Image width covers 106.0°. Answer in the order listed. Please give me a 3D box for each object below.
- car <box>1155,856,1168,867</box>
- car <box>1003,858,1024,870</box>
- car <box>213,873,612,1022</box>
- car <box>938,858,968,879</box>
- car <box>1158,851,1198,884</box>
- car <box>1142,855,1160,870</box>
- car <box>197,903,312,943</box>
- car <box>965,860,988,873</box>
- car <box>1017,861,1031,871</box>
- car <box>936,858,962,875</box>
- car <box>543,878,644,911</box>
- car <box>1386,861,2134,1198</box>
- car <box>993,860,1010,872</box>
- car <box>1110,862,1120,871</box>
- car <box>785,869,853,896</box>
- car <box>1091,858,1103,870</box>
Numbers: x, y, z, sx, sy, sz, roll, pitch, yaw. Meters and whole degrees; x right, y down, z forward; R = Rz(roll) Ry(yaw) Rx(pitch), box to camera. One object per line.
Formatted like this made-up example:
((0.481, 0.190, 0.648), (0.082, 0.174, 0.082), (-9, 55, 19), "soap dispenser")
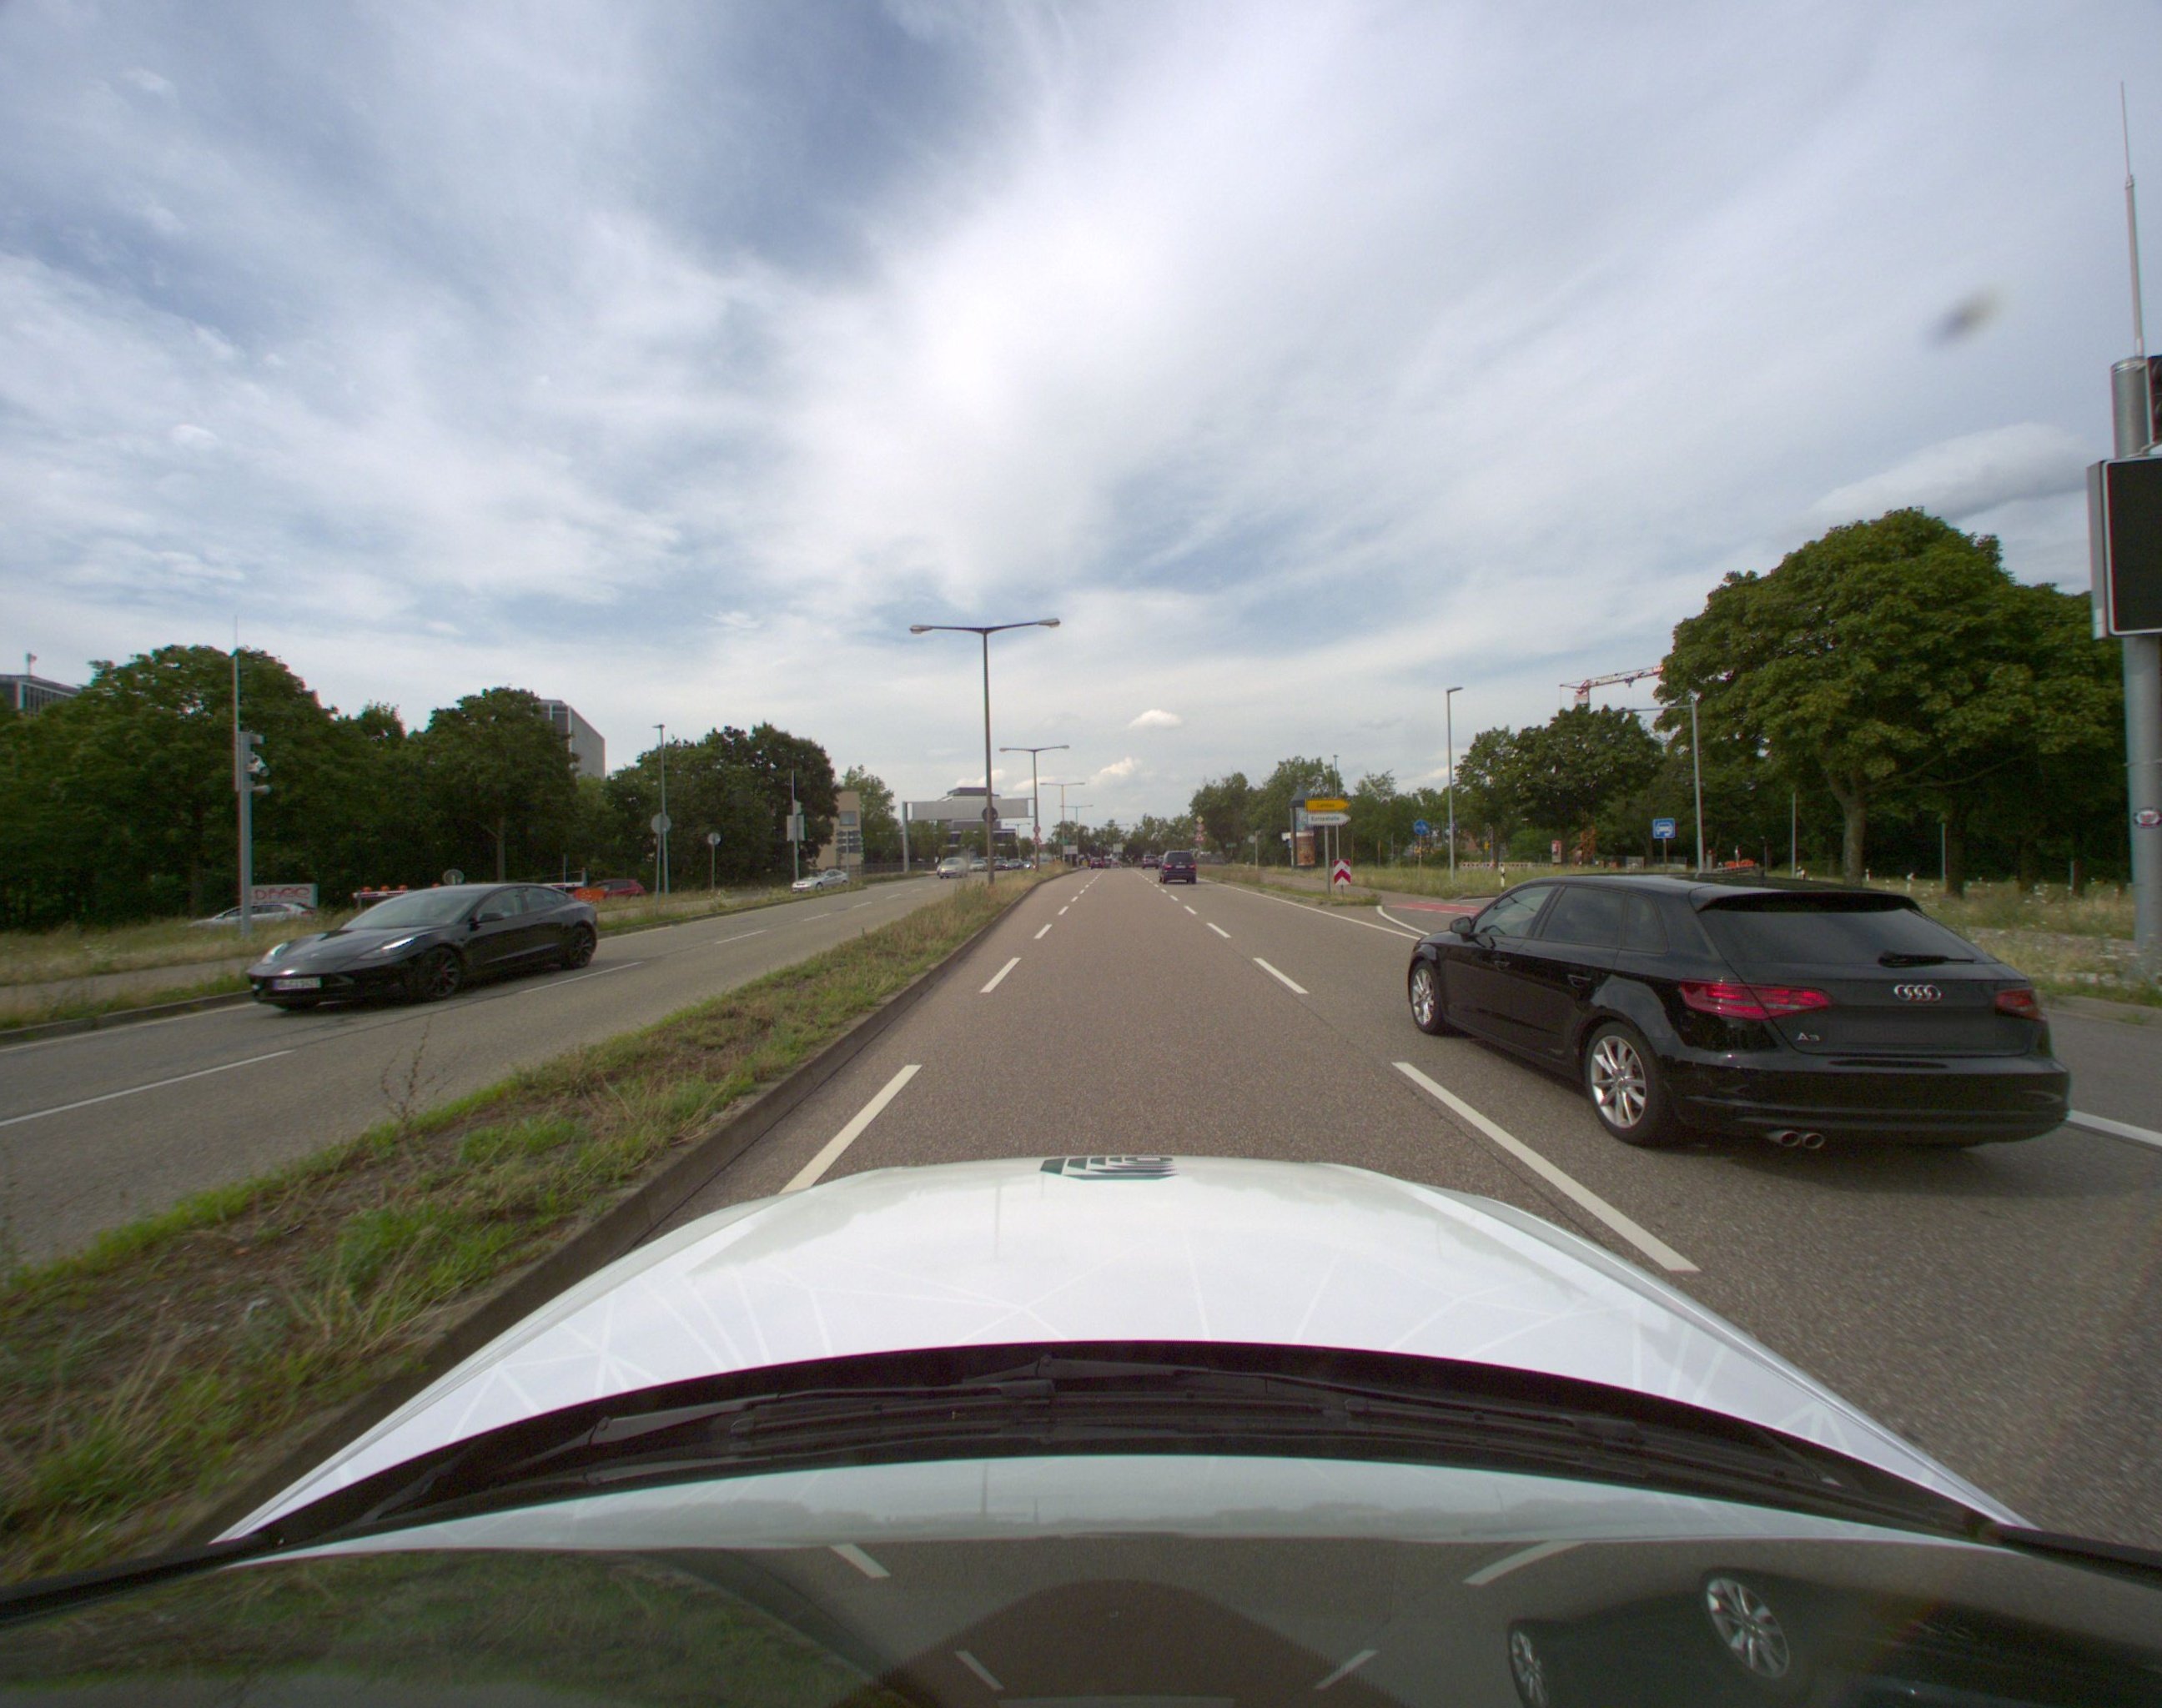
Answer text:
((11.185, 1.042, 113.453), (1.501, 1.447, 3.140), (0, 0, 1), "car")
((-8.594, 1.280, 103.399), (1.657, 1.425, 4.528), (-4, -1, 7), "car")
((-8.776, 1.096, 11.381), (1.739, 1.475, 4.564), (-2, 0, 0), "car")
((-10.330, 1.145, 66.023), (1.740, 1.598, 4.563), (-2, 0, -1), "car")
((5.115, 0.682, 43.516), (1.724, 1.653, 4.116), (-1, 0, 1), "car")
((7.837, 0.921, 91.361), (1.724, 1.653, 4.116), (-1, 0, 1), "car")
((-32.747, 2.692, 32.376), (3.023, 1.273, 1.258), (-3, 0, -37), "car")
((-12.590, 1.509, 98.396), (1.657, 1.419, 4.320), (-4, -1, 6), "car")
((-9.298, 1.956, 132.604), (1.786, 1.525, 4.190), (-3, -1, 2), "car")
((-13.074, 1.226, 80.936), (1.659, 1.419, 4.095), (-3, 1, 2), "car")
((-24.463, 1.999, 40.944), (4.198, 1.368, 1.500), (-3, 0, -37), "car")
((3.683, 0.771, 5.553), (1.724, 1.395, 4.116), (-1, 0, 1), "car")
((-11.347, 1.721, 116.251), (1.786, 1.525, 4.596), (-3, -1, 2), "car")
((6.505, 2.410, 155.527), (1.726, 1.526, 4.112), (-1, 0, -2), "car")
((-16.749, 1.812, 52.360), (1.731, 1.446, 4.483), (-2, 0, 19), "car")
((2.348, 1.369, 117.015), (1.724, 1.653, 4.116), (-1, 0, 1), "car")
